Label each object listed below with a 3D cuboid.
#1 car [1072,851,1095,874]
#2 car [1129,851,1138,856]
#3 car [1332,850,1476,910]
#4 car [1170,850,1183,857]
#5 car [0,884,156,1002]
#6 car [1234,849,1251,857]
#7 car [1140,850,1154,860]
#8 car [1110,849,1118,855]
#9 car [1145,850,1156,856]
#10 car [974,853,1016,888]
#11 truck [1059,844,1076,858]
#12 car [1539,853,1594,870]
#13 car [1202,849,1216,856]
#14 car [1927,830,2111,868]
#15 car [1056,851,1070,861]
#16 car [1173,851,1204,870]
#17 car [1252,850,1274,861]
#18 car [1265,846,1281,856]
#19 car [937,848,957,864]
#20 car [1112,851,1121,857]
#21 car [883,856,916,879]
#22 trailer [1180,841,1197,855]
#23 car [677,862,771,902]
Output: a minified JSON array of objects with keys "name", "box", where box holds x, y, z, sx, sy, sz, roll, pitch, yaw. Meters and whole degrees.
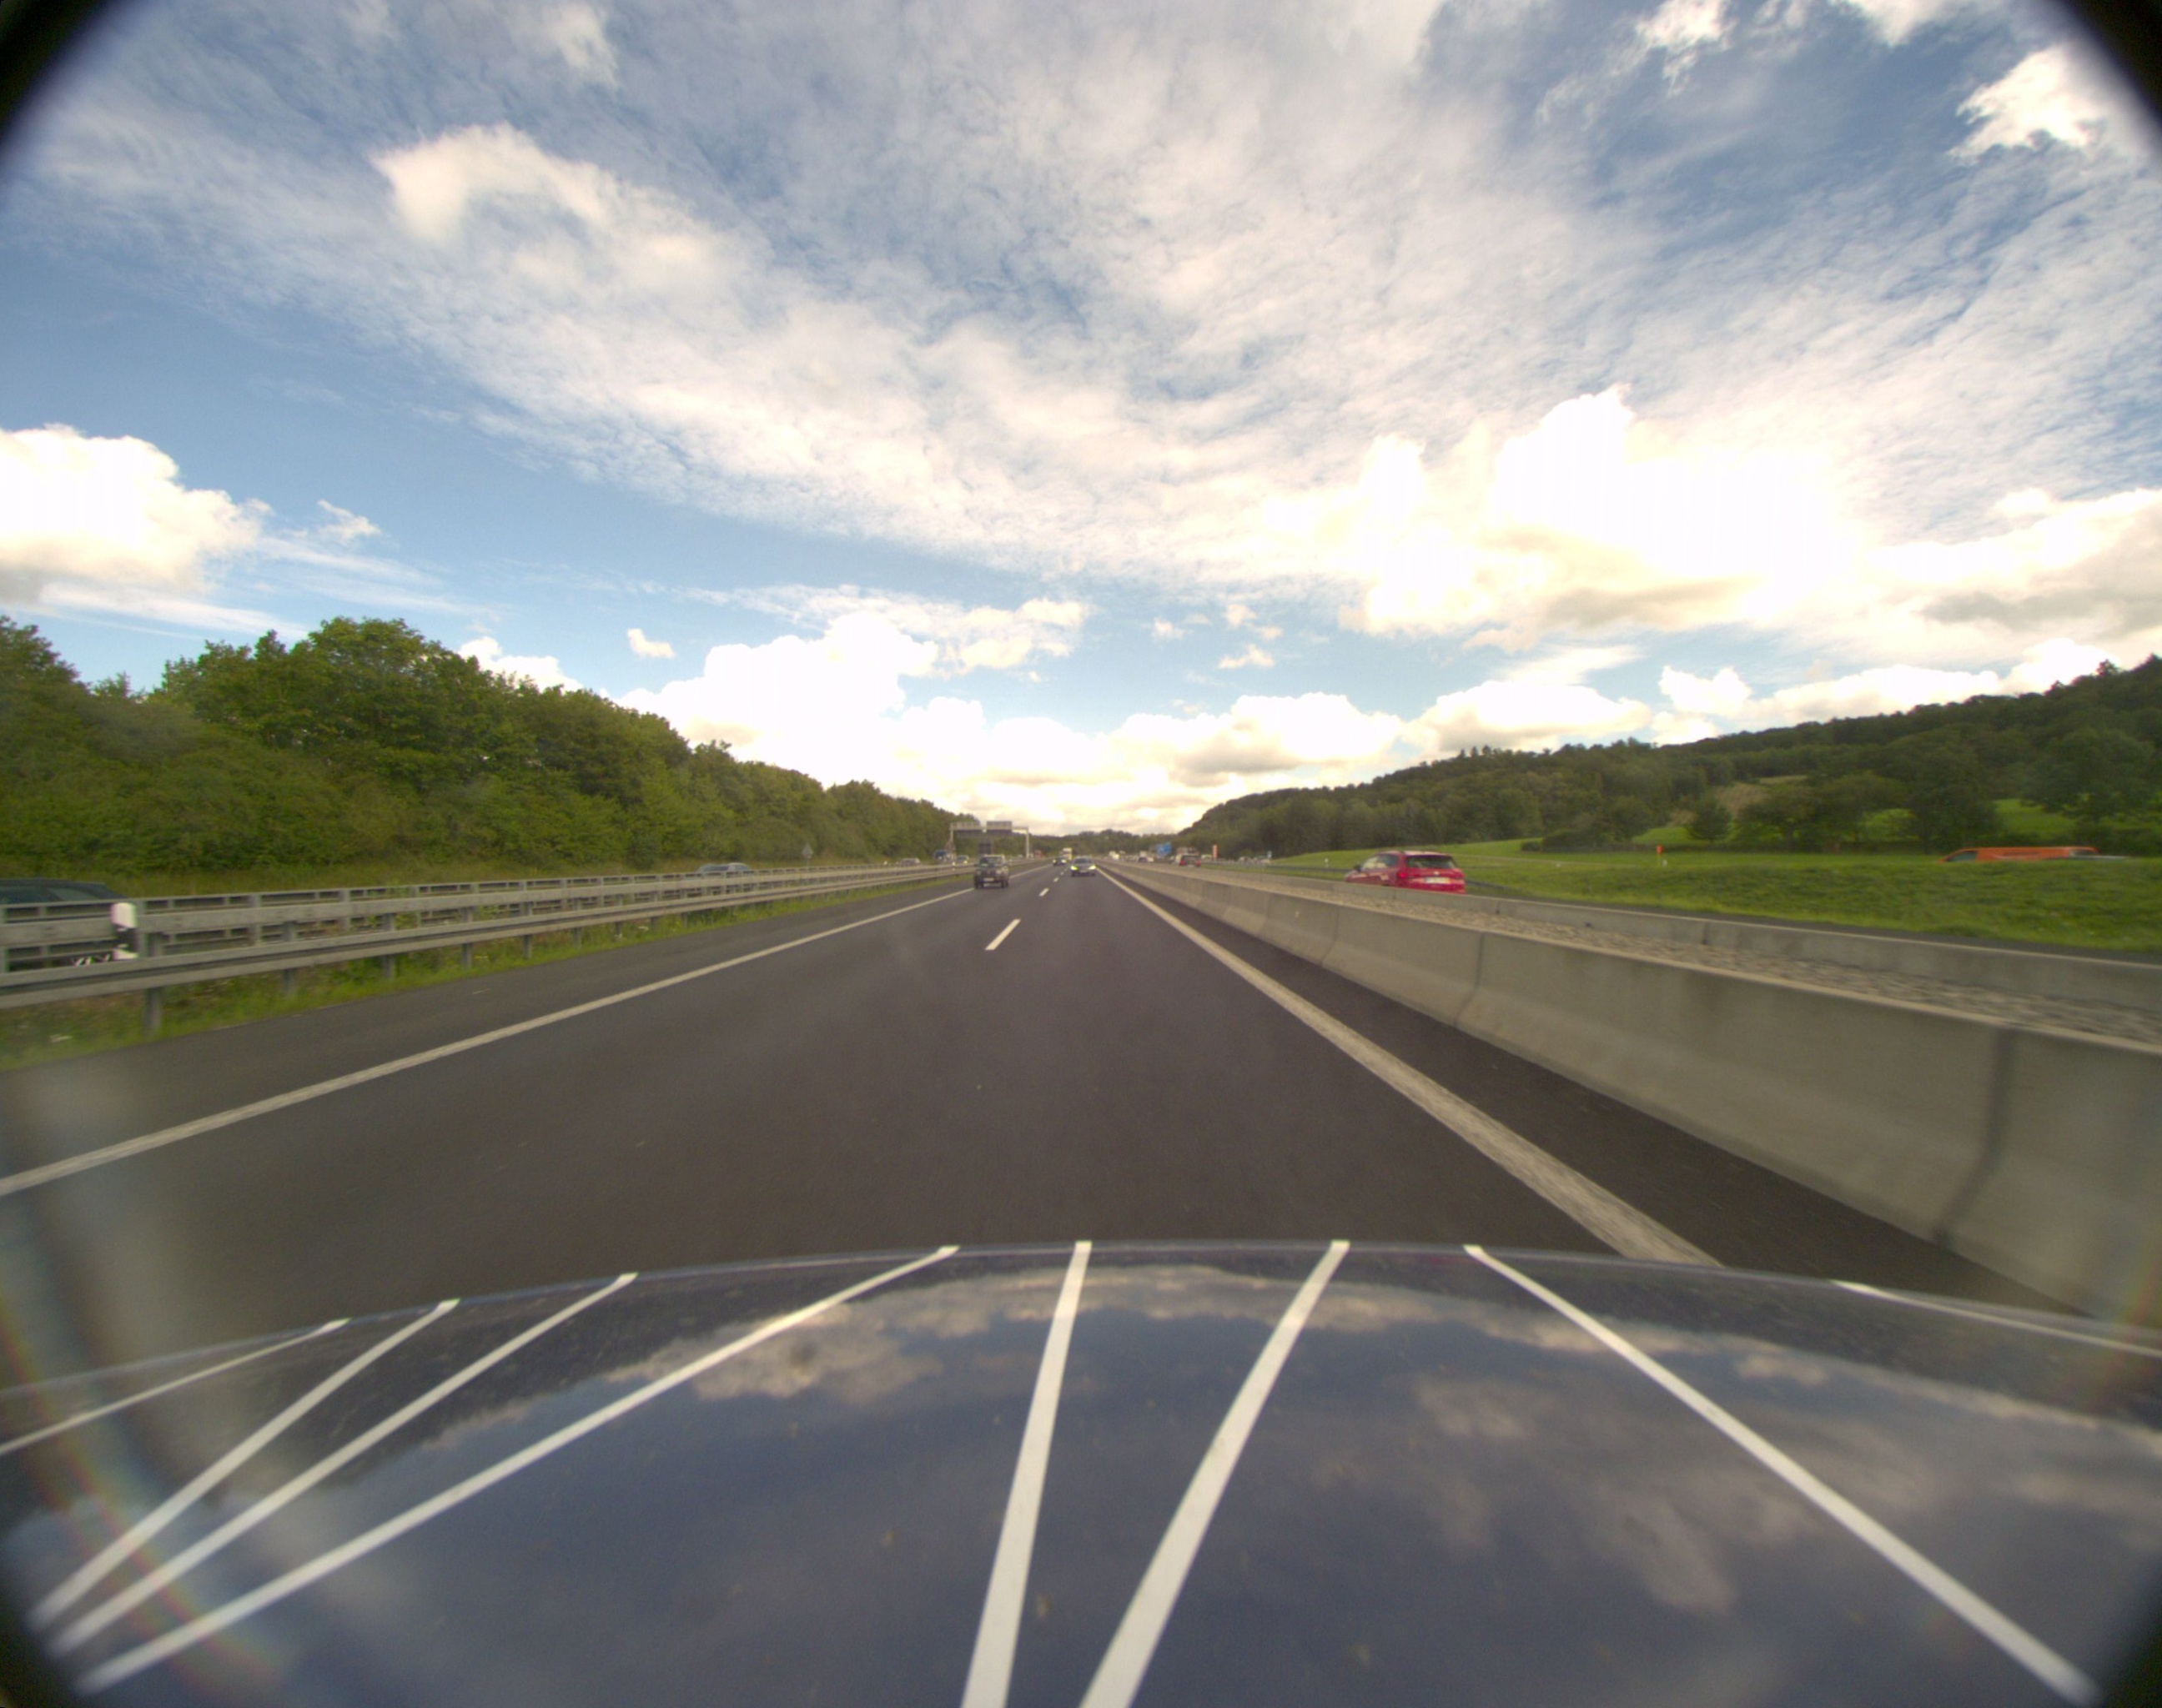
[{"name":"car","box":[0.231,0.635,58.989,1.724,1.722,3.938,-1,1,2]},{"name":"car","box":[13.987,-0.146,201.780,1.999,1.523,4.506,0,1,0]},{"name":"car","box":[8.388,0.601,20.265,1.792,1.390,4.799,0,1,0]},{"name":"car","box":[20.796,-0.050,165.301,1.777,1.539,4.887,0,1,-5]},{"name":"car","box":[-15.193,1.226,9.638,1.999,1.476,3.999,-1,1,-1]},{"name":"car","box":[30.197,-0.190,142.494,1.777,1.539,4.887,0,1,-5]},{"name":"car","box":[9.608,0.160,111.089,1.646,1.390,3.741,0,1,0]},{"name":"car","box":[9.269,-0.541,215.191,1.999,1.523,5.020,0,1,0]},{"name":"car","box":[18.305,-0.324,199.657,1.778,1.392,4.395,0,1,-8]},{"name":"car","box":[-4.539,0.849,40.660,1.670,1.722,4.207,-1,1,2]},{"name":"truck","box":[-4.130,-0.918,237.853,4.947,4.306,14.629,0,1,1]},{"name":"car","box":[46.846,0.707,73.455,1.777,1.539,4.887,0,1,-5]},{"name":"car","box":[28.989,-0.344,172.325,1.777,1.539,4.887,0,1,-5]},{"name":"car","box":[40.890,-0.217,33.346,1.777,1.539,4.887,0,1,-5]},{"name":"car","box":[-2.953,0.272,126.092,1.998,1.591,4.000,0,1,2]},{"name":"car","box":[8.403,0.489,59.923,1.792,1.390,4.724,0,1,0]},{"name":"car","box":[27.348,0.232,114.180,1.777,1.539,4.887,0,1,-5]},{"name":"car","box":[39.585,-0.712,156.730,1.999,2.002,3.998,0,1,-3]},{"name":"car","box":[-18.867,0.208,106.976,1.999,2.173,5.127,-1,1,-1]},{"name":"car","box":[9.089,-0.088,193.090,1.999,1.523,5.747,0,1,0]},{"name":"car","box":[-16.212,1.184,68.173,1.998,2.002,3.999,0,1,0]},{"name":"trailer","box":[29.294,-1.755,207.703,1.999,3.715,13.238,0,1,-4]},{"name":"car","box":[-15.045,1.126,32.335,1.999,1.476,4.309,-1,1,-1]}]
